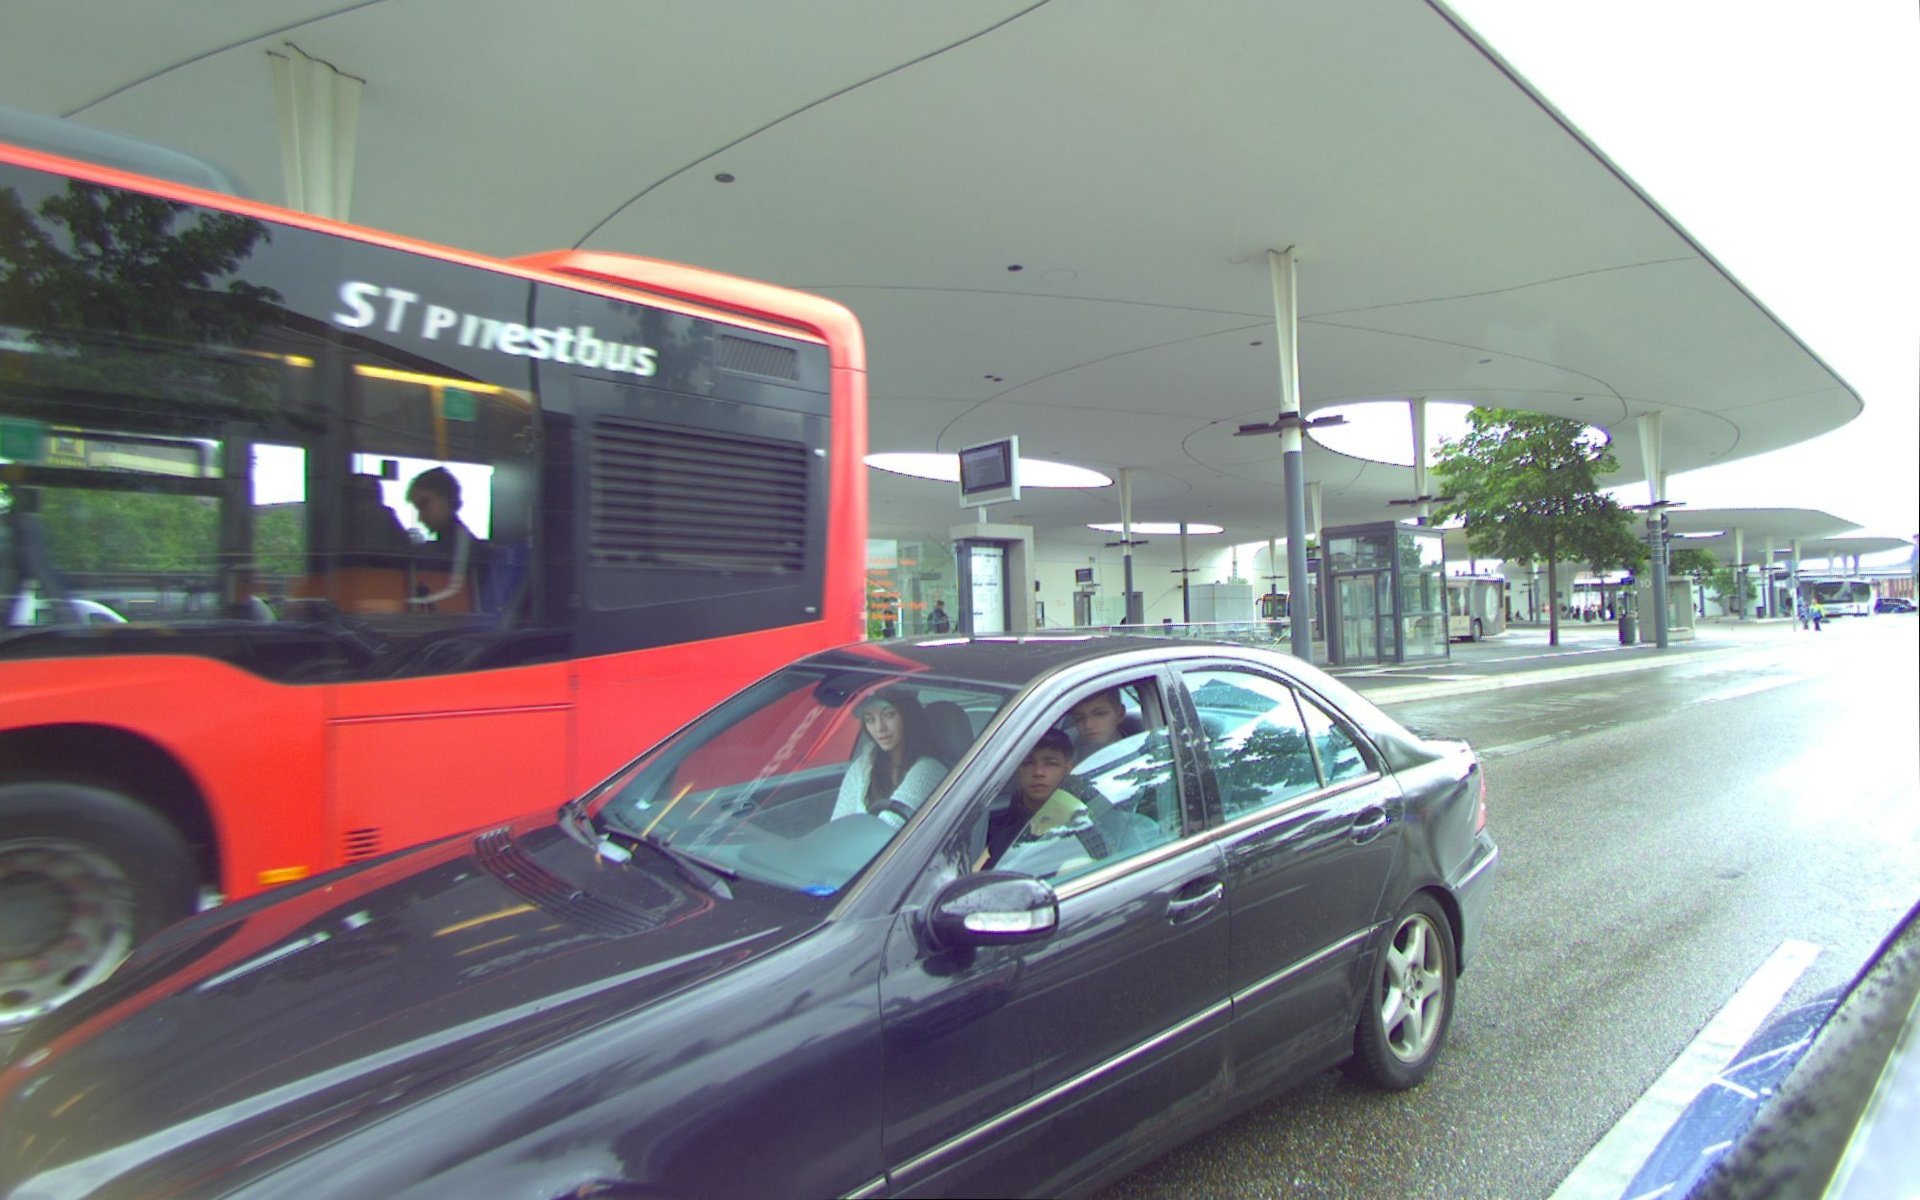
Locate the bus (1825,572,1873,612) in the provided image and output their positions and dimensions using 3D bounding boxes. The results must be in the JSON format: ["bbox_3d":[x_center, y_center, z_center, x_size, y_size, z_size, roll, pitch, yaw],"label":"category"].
[{"bbox_3d":[75.363,-0.668,85.713,2.666,3.169,9.565,-1,-1,43],"label":"bus"}]

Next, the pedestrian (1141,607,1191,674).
[{"bbox_3d":[4.036,0.776,19.870,0.657,1.268,0.692,0,-1,-41],"label":"pedestrian"}]

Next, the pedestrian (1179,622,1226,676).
[{"bbox_3d":[4.635,0.925,19.331,0.626,0.974,0.622,0,-1,-41],"label":"pedestrian"}]

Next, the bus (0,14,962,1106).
[{"bbox_3d":[-3.817,-0.120,3.927,7.984,3.214,2.745,0,0,-44],"label":"bus"}]

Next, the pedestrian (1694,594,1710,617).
[{"bbox_3d":[52.002,0.380,70.917,0.740,1.651,0.723,0,-1,-41],"label":"pedestrian"}]

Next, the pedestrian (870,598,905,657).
[{"bbox_3d":[-1.944,0.724,27.068,0.680,1.564,0.658,0,-1,-40],"label":"pedestrian"}]

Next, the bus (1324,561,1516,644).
[{"bbox_3d":[20.100,0.068,43.611,12.144,3.146,2.999,0,-1,-43],"label":"bus"}]

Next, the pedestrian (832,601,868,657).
[{"bbox_3d":[-3.284,0.850,30.288,0.646,1.654,0.854,-1,-1,43],"label":"pedestrian"}]

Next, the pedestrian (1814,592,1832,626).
[{"bbox_3d":[43.038,0.450,50.476,0.543,1.645,0.556,0,-1,-41],"label":"pedestrian"}]

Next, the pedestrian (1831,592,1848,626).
[{"bbox_3d":[43.481,0.449,50.027,0.543,1.645,0.556,0,-1,-41],"label":"pedestrian"}]

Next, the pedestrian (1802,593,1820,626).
[{"bbox_3d":[42.792,0.486,50.899,0.577,1.645,0.576,0,-1,-41],"label":"pedestrian"}]

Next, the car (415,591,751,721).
[{"bbox_3d":[-5.519,0.752,15.135,4.356,1.671,1.803,0,-3,-41],"label":"car"}]

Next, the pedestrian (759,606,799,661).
[{"bbox_3d":[-5.043,0.924,28.227,0.732,1.497,0.825,-1,-1,43],"label":"pedestrian"}]

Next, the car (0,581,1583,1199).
[{"bbox_3d":[0.020,0.808,2.993,4.358,1.499,1.748,-2,-3,-41],"label":"car"}]

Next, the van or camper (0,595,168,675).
[{"bbox_3d":[-29.785,1.108,33.227,5.868,2.495,2.106,0,-1,-41],"label":"van or camper"}]

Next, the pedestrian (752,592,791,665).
[{"bbox_3d":[-4.519,0.674,24.249,0.680,1.728,0.658,0,-1,-40],"label":"pedestrian"}]
